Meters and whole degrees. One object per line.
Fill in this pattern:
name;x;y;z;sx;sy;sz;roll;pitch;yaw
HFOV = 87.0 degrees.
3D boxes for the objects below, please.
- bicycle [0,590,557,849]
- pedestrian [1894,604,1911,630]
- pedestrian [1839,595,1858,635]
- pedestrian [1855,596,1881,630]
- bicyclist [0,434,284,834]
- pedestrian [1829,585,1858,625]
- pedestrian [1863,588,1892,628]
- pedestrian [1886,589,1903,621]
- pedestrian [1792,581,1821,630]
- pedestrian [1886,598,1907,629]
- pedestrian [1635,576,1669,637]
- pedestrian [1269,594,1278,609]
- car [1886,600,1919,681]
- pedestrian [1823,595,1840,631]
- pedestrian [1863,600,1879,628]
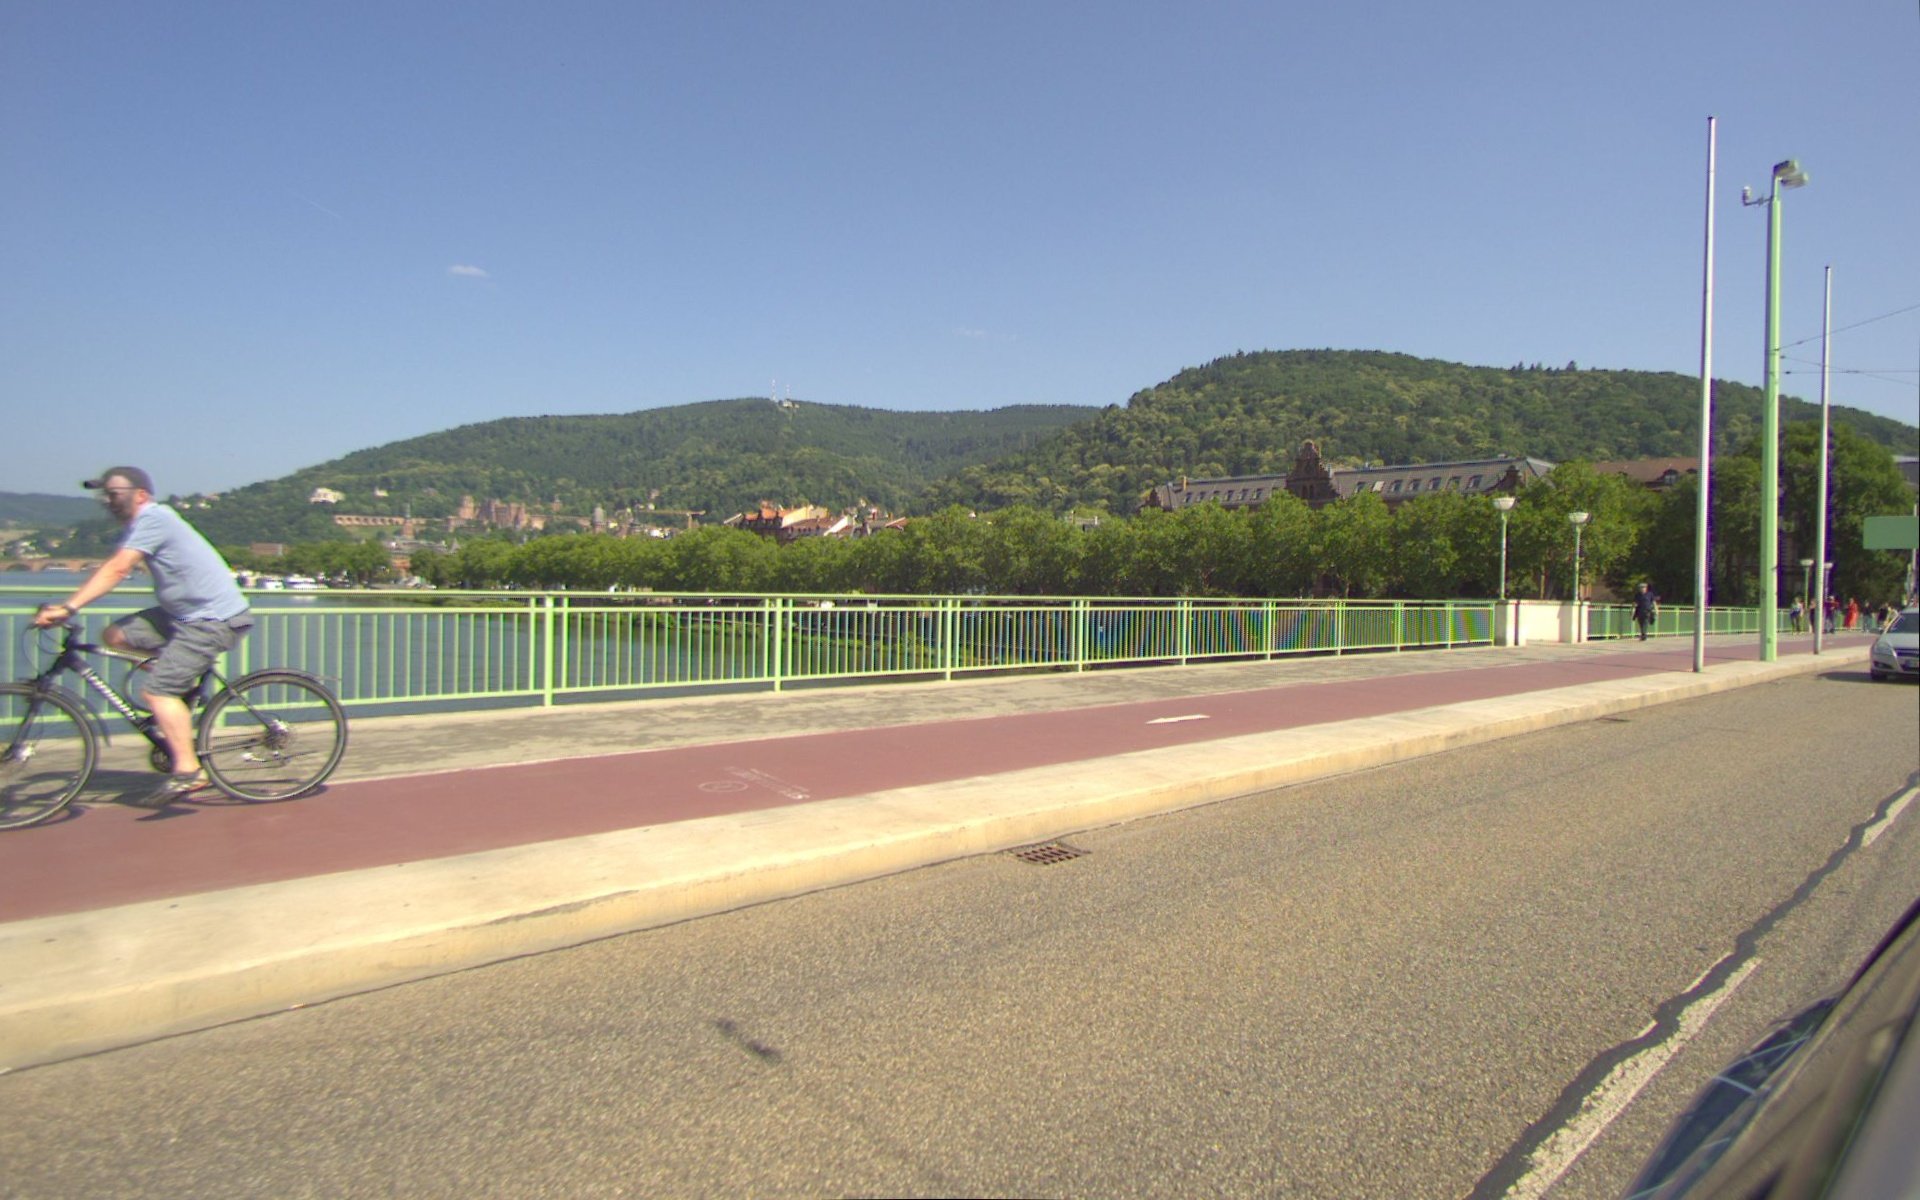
bicycle;-4.034;0.519;5.144;0.793;1.109;3.684;2;2;44
pedestrian;58.317;1.047;62.626;0.679;1.582;0.651;3;0;-40
pedestrian;40.864;0.666;46.534;0.585;1.816;0.622;1;1;44
pedestrian;49.105;0.710;54.714;0.985;1.791;1.234;3;1;43
bicyclist;-4.129;0.137;5.055;0.673;1.765;1.132;2;1;45
pedestrian;43.522;0.244;49.850;0.985;1.919;1.234;1;1;44
pedestrian;47.188;0.394;52.055;0.923;1.978;1.016;0;1;-43
pedestrian;49.888;0.271;54.029;0.654;1.670;0.854;1;1;43
pedestrian;36.493;0.222;43.604;0.874;2.039;1.043;1;1;43
pedestrian;51.731;0.731;55.918;0.834;1.698;0.872;1;1;43
pedestrian;20.405;0.204;29.826;0.654;1.766;0.963;1;-1;43
pedestrian;36.922;0.182;119.157;0.740;1.798;0.666;0;-1;44
car;19.791;0.751;20.088;4.422;1.520;1.799;0;0;-44
pedestrian;40.314;0.595;46.826;0.688;1.670;0.523;0;1;-45
pedestrian;53.689;0.825;59.637;0.679;1.652;0.651;1;-1;-40
